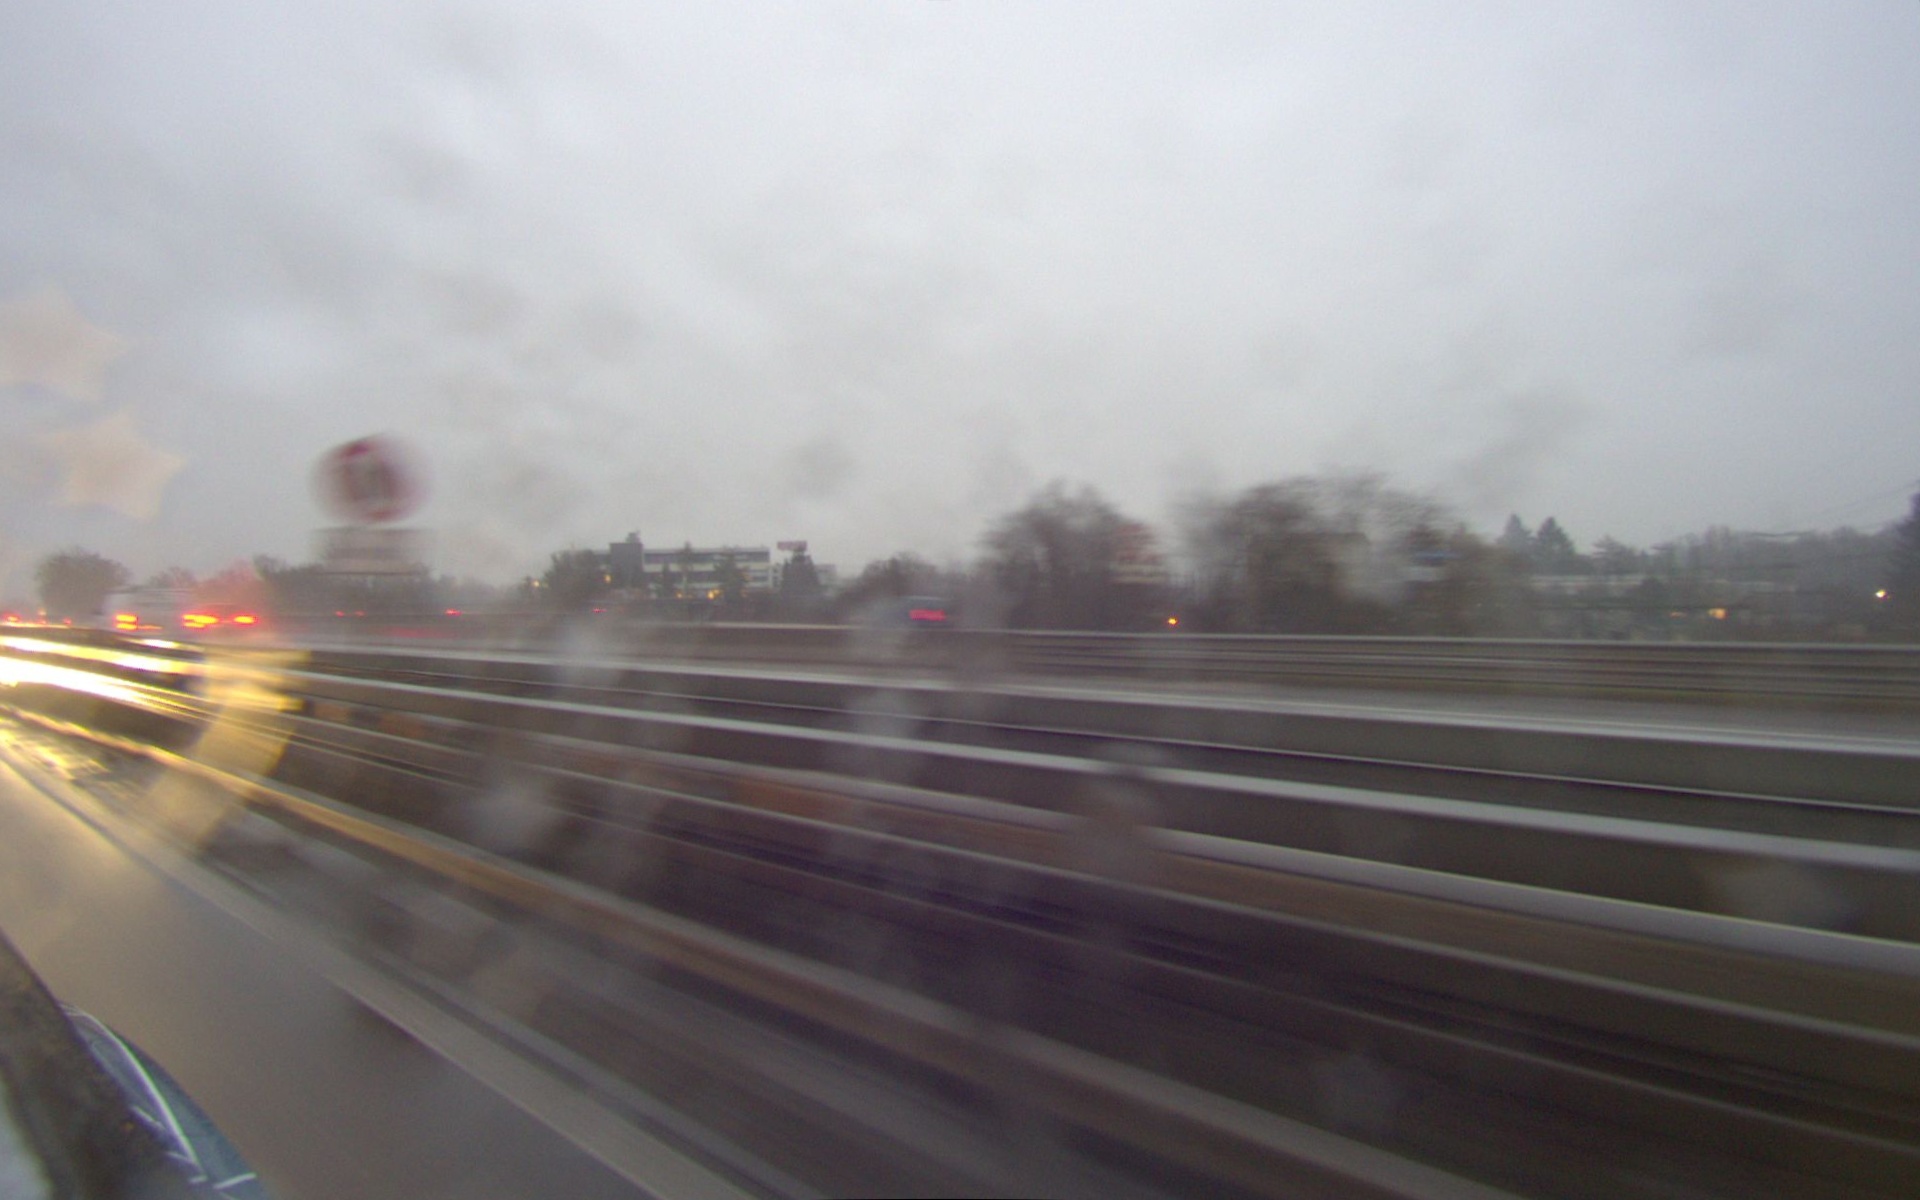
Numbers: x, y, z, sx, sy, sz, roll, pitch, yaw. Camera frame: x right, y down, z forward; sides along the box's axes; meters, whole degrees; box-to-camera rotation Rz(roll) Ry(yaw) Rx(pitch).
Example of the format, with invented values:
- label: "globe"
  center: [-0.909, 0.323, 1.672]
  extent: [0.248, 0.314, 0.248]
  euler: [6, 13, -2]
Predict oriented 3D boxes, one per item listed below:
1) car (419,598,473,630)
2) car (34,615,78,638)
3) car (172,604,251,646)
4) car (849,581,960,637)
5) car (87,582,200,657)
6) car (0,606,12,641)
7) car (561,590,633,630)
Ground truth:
- label: "car"
  center: [-34.431, 0.953, 67.767]
  extent: [3.999, 2.029, 1.972]
  euler: [-2, -2, 42]
- label: "car"
  center: [-67.818, 1.995, 75.891]
  extent: [4.655, 1.608, 1.972]
  euler: [-1, 0, 42]
- label: "car"
  center: [-31.331, 1.078, 42.323]
  extent: [4.543, 1.649, 1.816]
  euler: [-2, -2, 42]
- label: "car"
  center: [-2.161, 0.336, 38.848]
  extent: [3.998, 2.029, 1.973]
  euler: [-1, 0, 41]
- label: "car"
  center: [-25.510, 0.642, 31.546]
  extent: [5.197, 2.152, 1.972]
  euler: [-2, -2, 42]
- label: "car"
  center: [-63.802, 1.544, 66.355]
  extent: [5.052, 2.232, 1.972]
  euler: [-1, 0, 42]
- label: "car"
  center: [-19.440, 0.535, 54.135]
  extent: [3.999, 2.029, 1.972]
  euler: [-1, 1, 42]
